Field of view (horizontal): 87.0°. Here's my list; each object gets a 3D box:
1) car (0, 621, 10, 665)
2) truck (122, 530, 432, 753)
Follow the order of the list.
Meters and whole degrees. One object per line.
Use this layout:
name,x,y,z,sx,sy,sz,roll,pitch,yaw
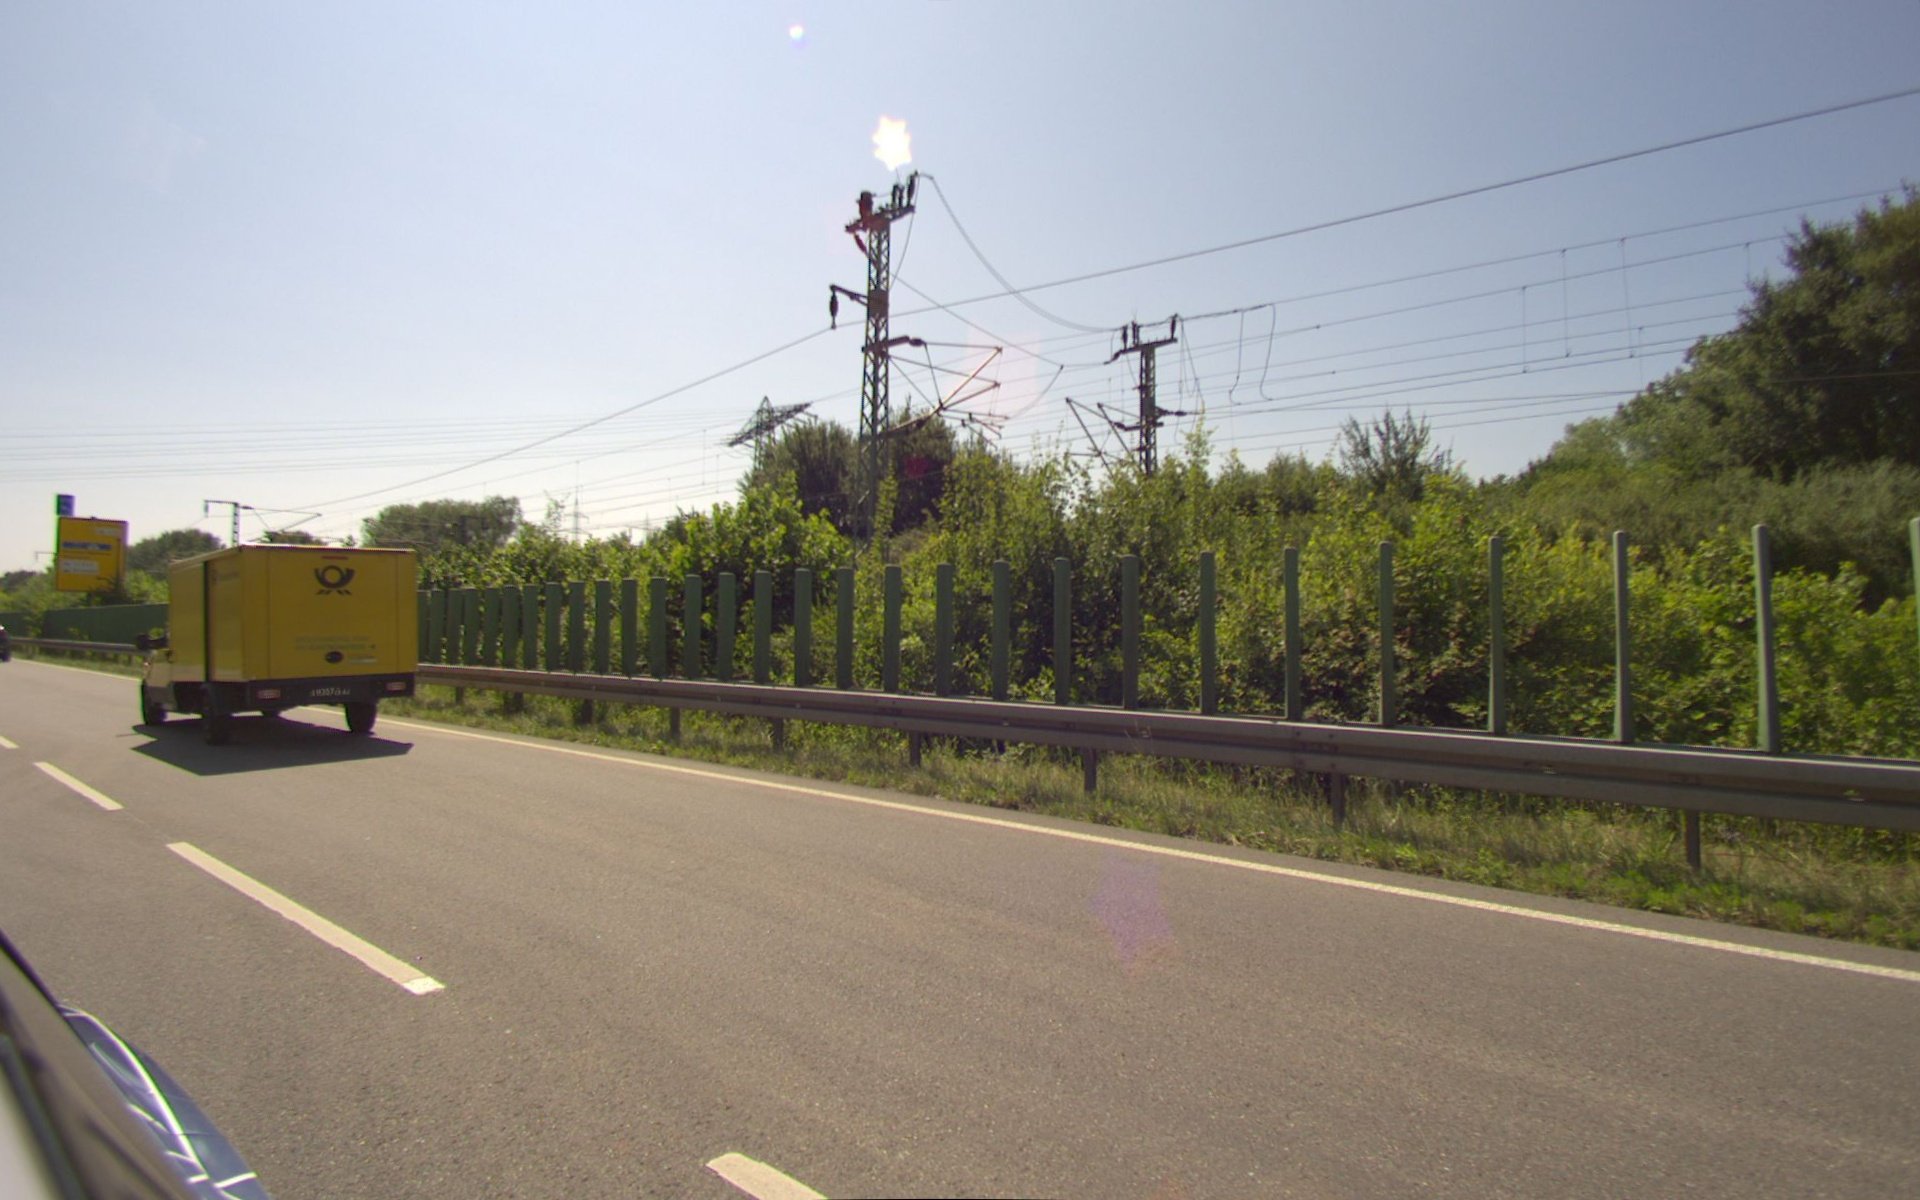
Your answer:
car,-36.815,1.601,37.587,4.368,1.599,1.783,-1,-2,41
truck,-9.289,0.500,13.484,6.009,2.366,1.973,-1,-1,41
